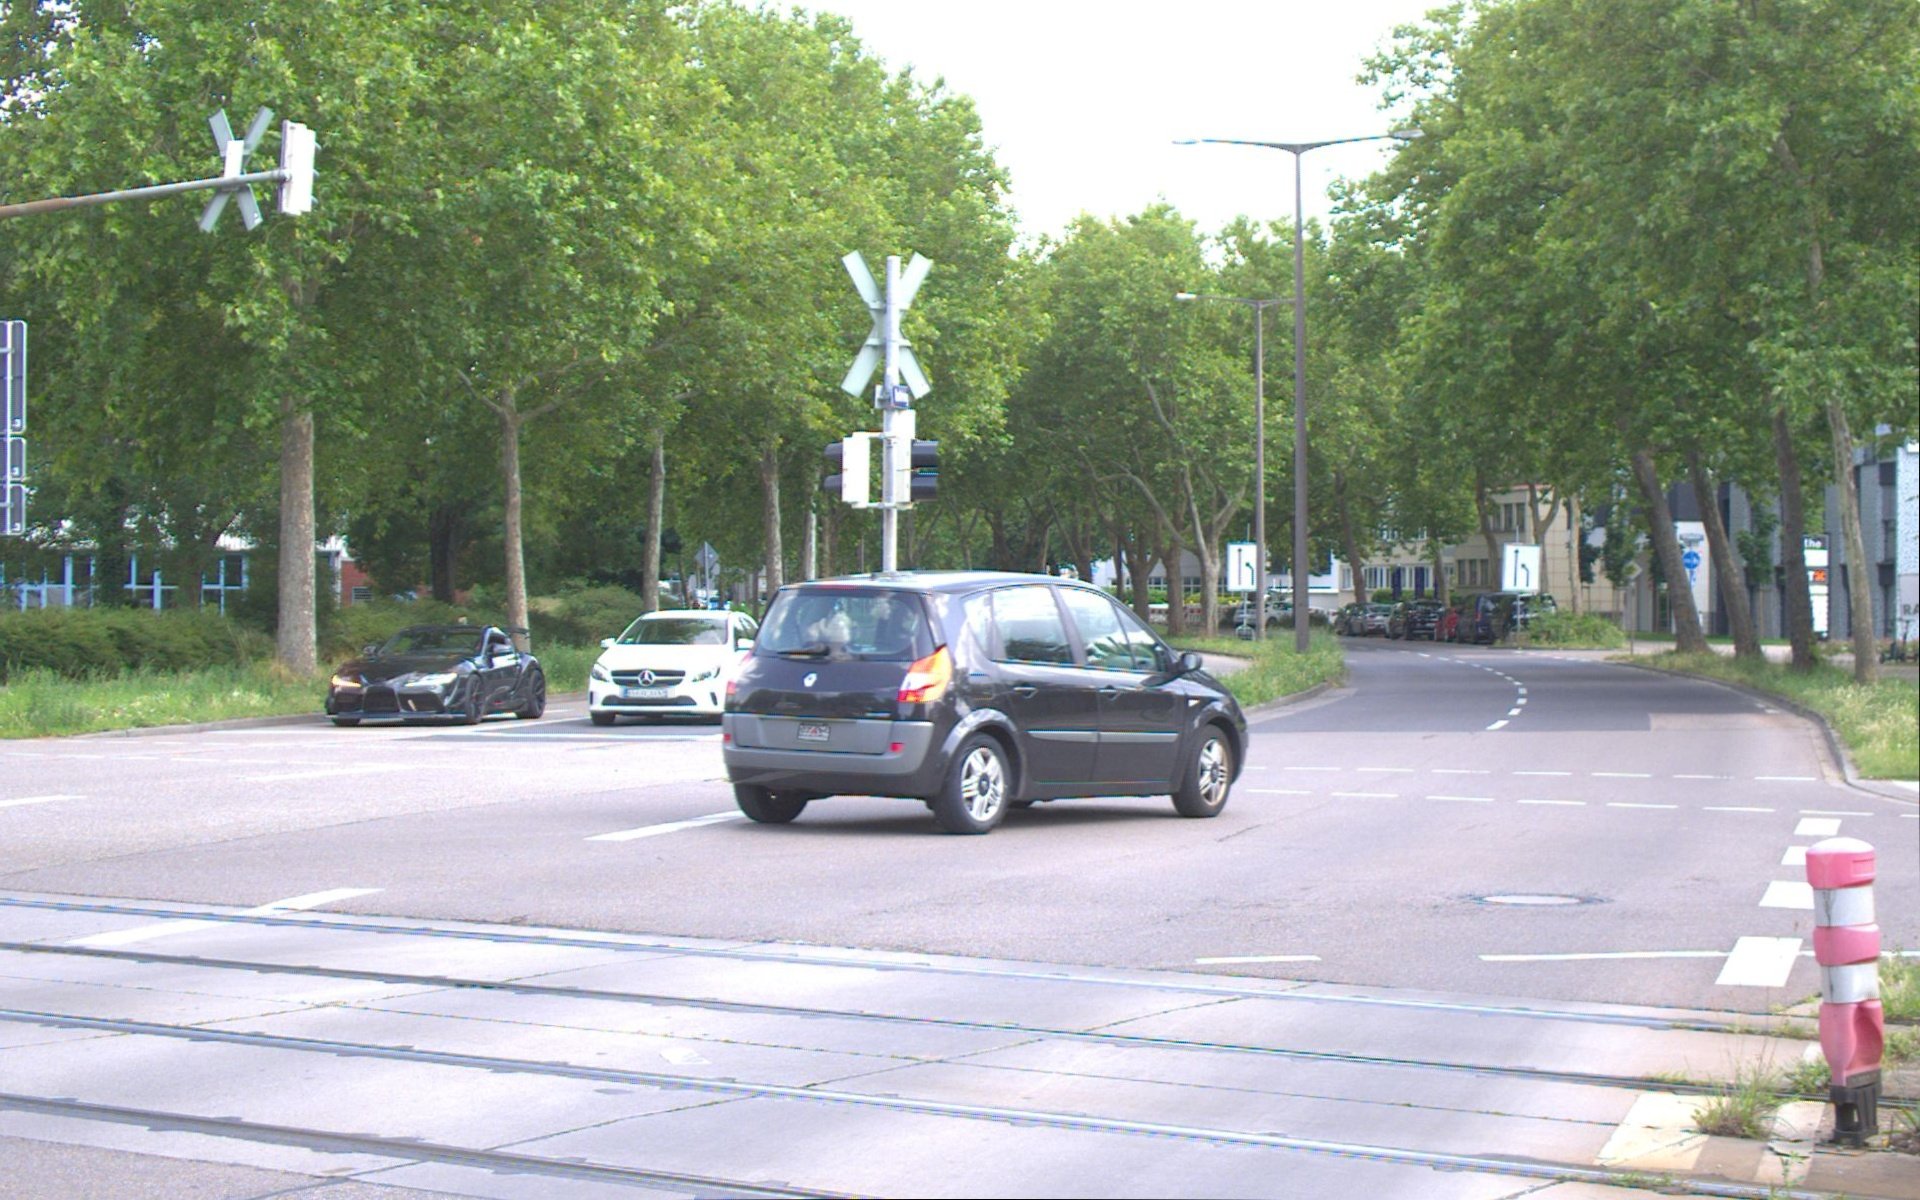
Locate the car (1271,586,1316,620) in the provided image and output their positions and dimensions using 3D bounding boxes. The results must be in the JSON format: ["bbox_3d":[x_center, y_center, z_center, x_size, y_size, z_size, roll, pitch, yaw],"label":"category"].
[{"bbox_3d":[17.021,0.143,175.718,1.993,1.568,4.000,0,2,1],"label":"car"}]

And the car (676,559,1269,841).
[{"bbox_3d":[0.174,0.581,22.048,1.734,1.625,4.044,1,0,37],"label":"car"}]

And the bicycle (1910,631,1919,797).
[{"bbox_3d":[8.190,0.875,25.874,1.948,1.231,0.540,1,2,23],"label":"bicycle"}]

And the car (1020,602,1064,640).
[{"bbox_3d":[3.100,0.777,129.710,1.656,1.267,3.771,0,2,2],"label":"car"}]

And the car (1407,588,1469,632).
[{"bbox_3d":[18.841,0.391,135.596,1.993,1.568,4.000,0,2,1],"label":"car"}]

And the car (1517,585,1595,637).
[{"bbox_3d":[19.939,0.347,115.168,1.993,1.568,4.000,0,2,1],"label":"car"}]

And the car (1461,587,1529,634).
[{"bbox_3d":[19.770,0.386,127.168,1.993,1.568,4.000,0,2,1],"label":"car"}]

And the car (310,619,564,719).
[{"bbox_3d":[-6.663,0.856,44.112,1.636,1.187,3.704,1,0,20],"label":"car"}]

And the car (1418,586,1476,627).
[{"bbox_3d":[20.687,0.255,146.280,1.993,1.568,4.000,0,2,1],"label":"car"}]

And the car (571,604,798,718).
[{"bbox_3d":[-3.470,0.749,44.069,1.826,1.360,4.136,1,0,11],"label":"car"}]
